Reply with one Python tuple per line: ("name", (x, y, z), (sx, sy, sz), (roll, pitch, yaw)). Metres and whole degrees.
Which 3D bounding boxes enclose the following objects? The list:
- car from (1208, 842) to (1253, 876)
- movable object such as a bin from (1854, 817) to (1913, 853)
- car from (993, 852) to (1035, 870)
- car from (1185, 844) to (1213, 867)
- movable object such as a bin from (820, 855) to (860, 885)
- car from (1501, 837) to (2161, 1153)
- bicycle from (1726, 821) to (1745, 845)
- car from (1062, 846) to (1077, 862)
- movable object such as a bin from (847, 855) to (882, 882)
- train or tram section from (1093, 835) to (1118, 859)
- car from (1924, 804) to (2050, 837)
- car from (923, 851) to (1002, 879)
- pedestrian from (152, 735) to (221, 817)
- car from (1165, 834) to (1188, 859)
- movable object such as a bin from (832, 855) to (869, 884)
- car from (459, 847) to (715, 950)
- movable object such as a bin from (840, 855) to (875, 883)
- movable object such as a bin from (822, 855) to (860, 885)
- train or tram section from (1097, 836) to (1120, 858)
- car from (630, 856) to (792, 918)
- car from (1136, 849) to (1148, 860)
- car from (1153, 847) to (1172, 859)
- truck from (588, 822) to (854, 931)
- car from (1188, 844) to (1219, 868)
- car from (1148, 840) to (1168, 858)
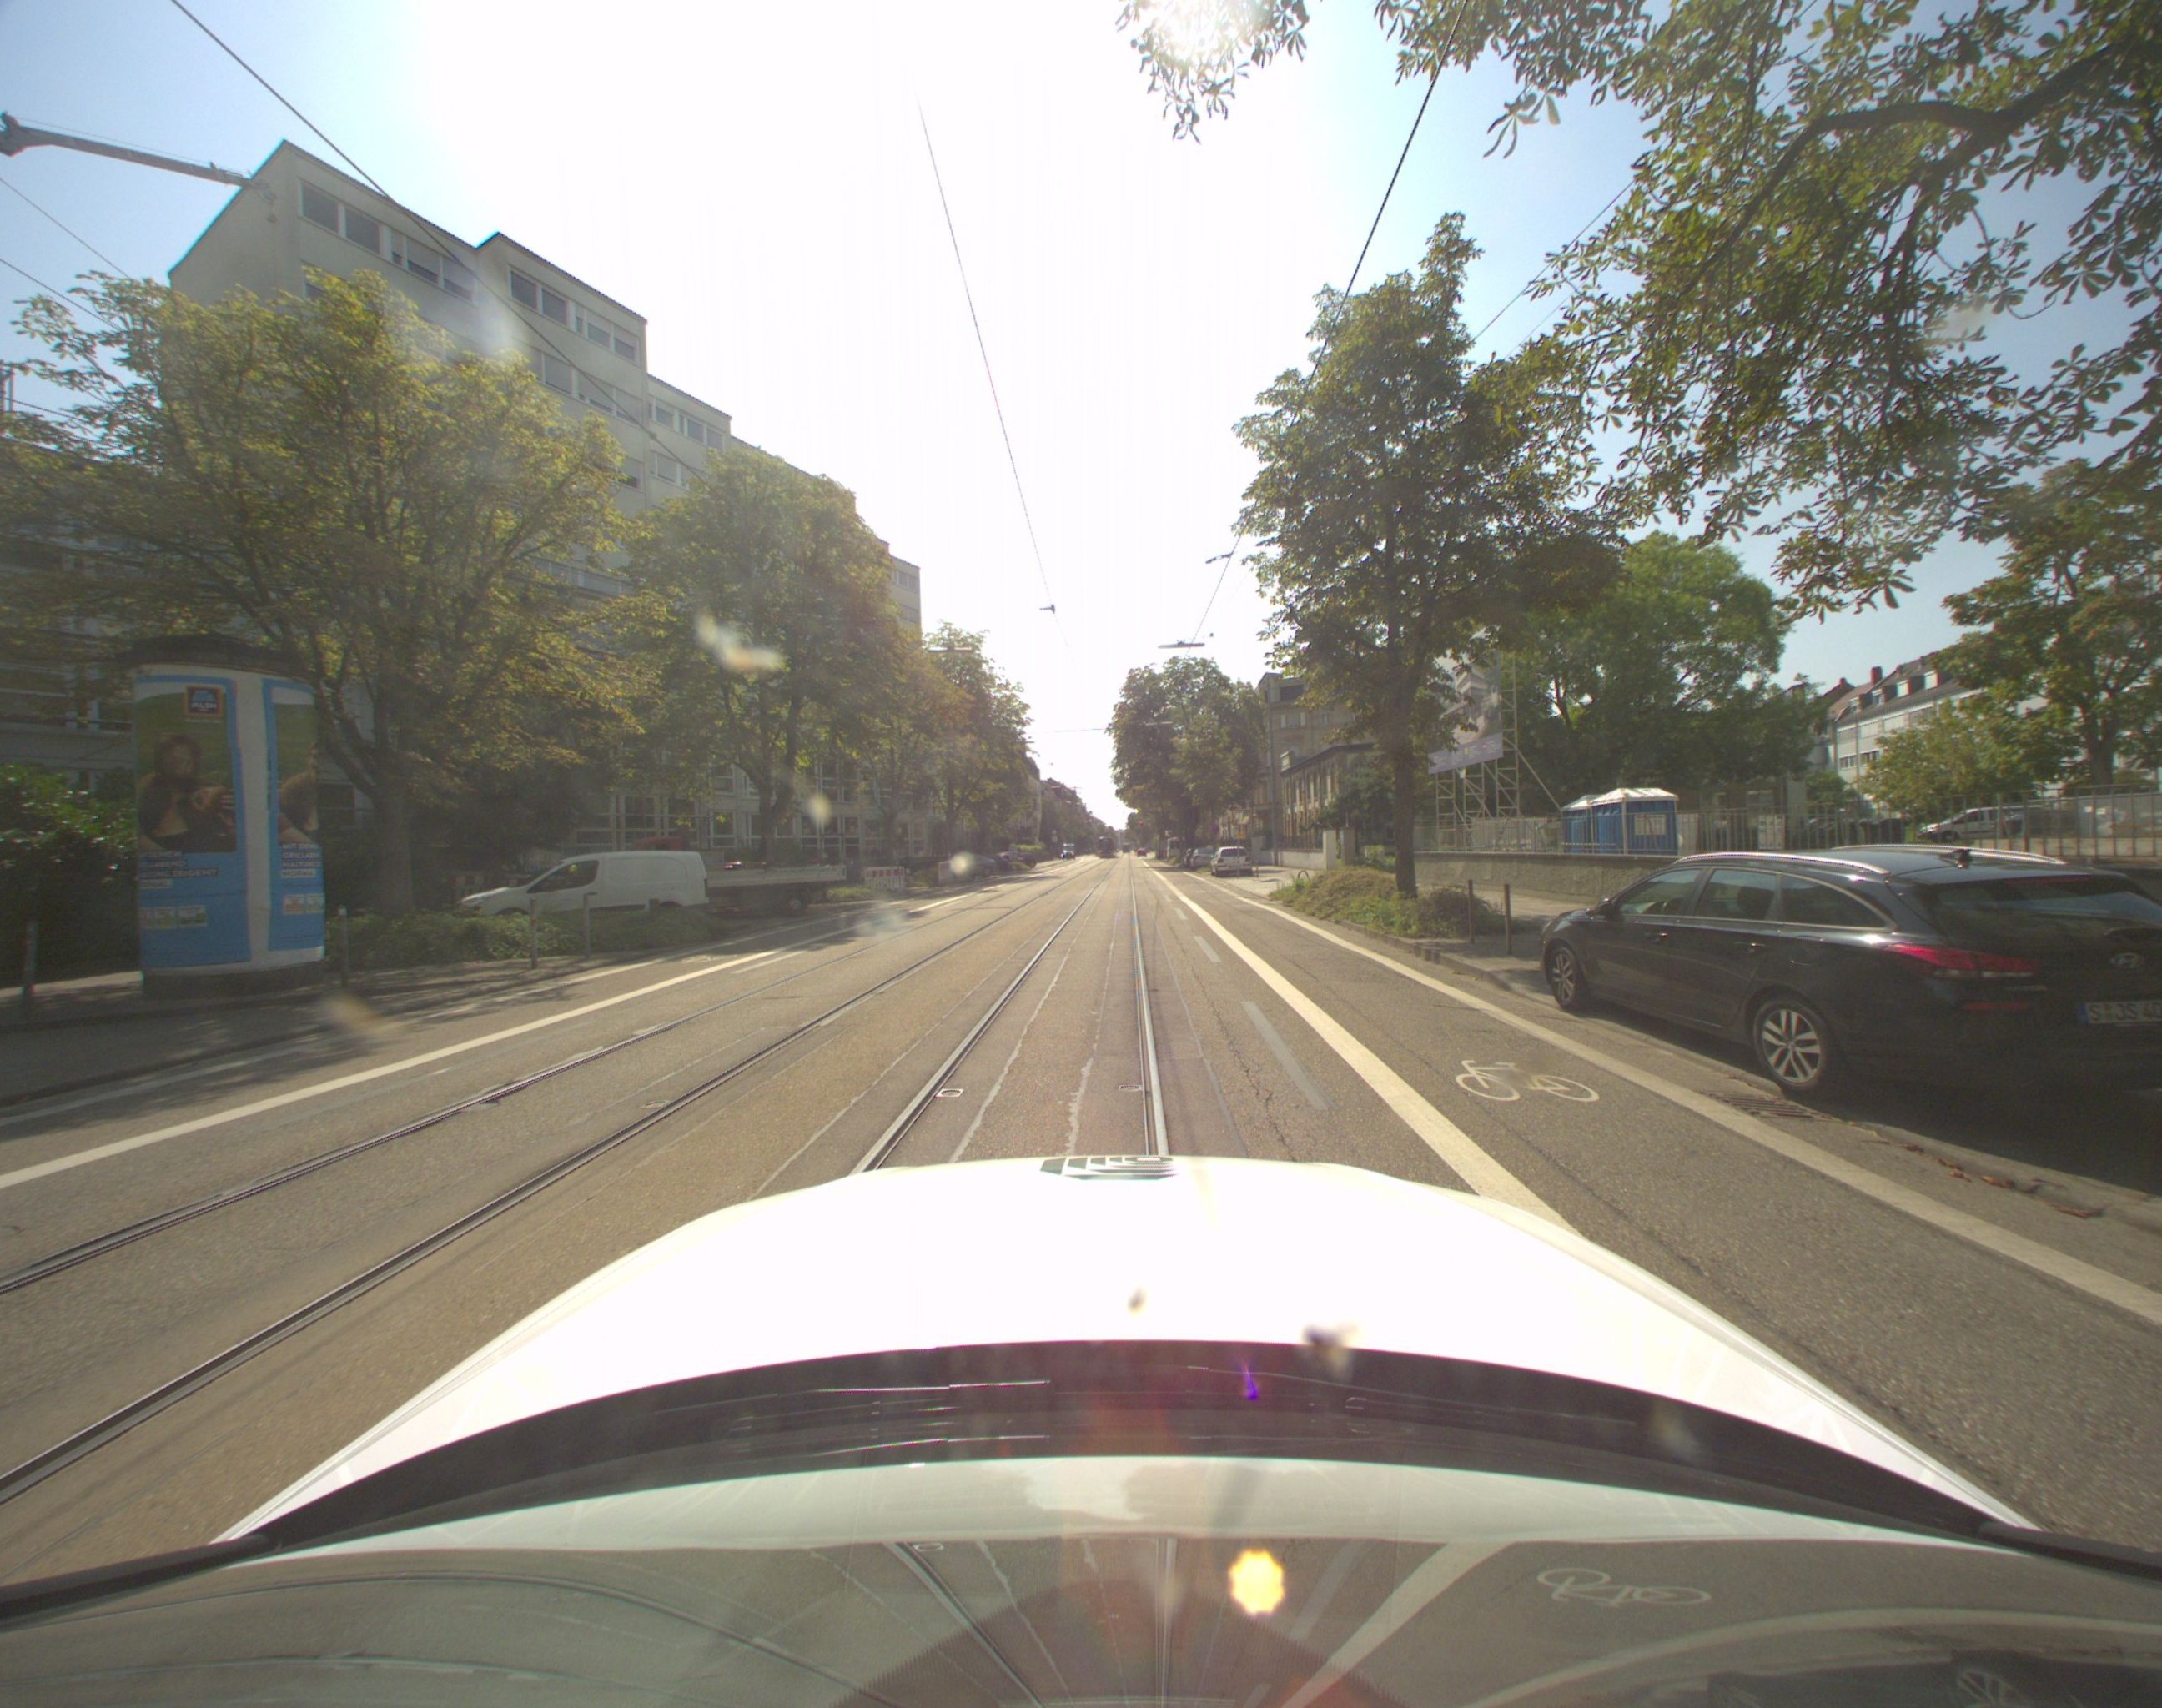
("car", (7.193, 0.217, 39.390), (1.782, 1.446, 3.739), (-3, 0, 6))
("movable object such as a bin", (34.918, -0.818, 35.486), (1.321, 1.493, 1.379), (-2, 1, 16))
("car", (-6.307, 0.624, 76.433), (3.604, 1.574, 1.657), (-1, 0, -39))
("car", (8.512, 0.066, 59.070), (1.786, 1.577, 4.006), (-2, 0, 5))
("movable object such as a bin", (-13.139, 0.874, 44.437), (1.676, 1.559, 1.355), (-2, 0, 2))
("car", (5.166, 0.661, 6.251), (1.667, 1.458, 4.668), (-3, 0, 3))
("bicycle", (36.268, -1.162, 45.130), (0.601, 1.302, 2.187), (-2, 0, 34))
("car", (-1.853, 0.032, 131.179), (2.235, 2.441, 3.999), (-1, 0, 0))
("movable object such as a bin", (-13.421, 0.880, 50.508), (1.676, 1.559, 1.355), (-2, 0, 2))
("train or tram section", (4.129, -1.139, 135.879), (3.481, 3.704, 12.427), (-1, 1, 4))
("car", (49.322, -1.802, 44.464), (4.248, 1.594, 1.811), (-2, 0, 32))
("car", (-7.275, 0.692, 50.525), (4.716, 1.451, 1.656), (-4, 1, -44))
("pedestrian", (-20.089, -1.721, 18.300), (0.742, 1.726, 0.856), (-2, 0, 28))
("car", (9.465, -0.711, 80.697), (1.985, 2.365, 4.004), (-1, 0, 3))
("movable object such as a bin", (-13.438, 0.894, 47.471), (1.676, 1.559, 1.355), (-2, 0, 2))
("car", (-10.191, 0.825, 16.987), (4.308, 1.772, 1.804), (-2, 0, -40))
("movable object such as a bin", (-13.439, 0.893, 49.032), (1.676, 1.559, 1.355), (-2, 0, 2))
("movable object such as a bin", (-13.505, 0.897, 45.890), (1.676, 1.559, 1.355), (-2, 0, 2))
("train or tram section", (5.120, -1.321, 148.242), (3.481, 3.704, 12.427), (-1, 1, 4))
("car", (-10.556, 0.904, 23.371), (3.881, 1.508, 1.700), (-2, 0, -41))
("car", (11.039, 0.076, 147.783), (1.985, 1.801, 4.004), (-1, 0, 3))
("car", (10.131, -0.160, 101.298), (1.987, 1.398, 4.000), (-2, 0, 1))
("truck", (-9.257, 0.459, 21.283), (5.996, 2.434, 2.127), (-2, 0, -36))
("car", (7.964, 0.133, 53.065), (1.634, 1.511, 3.644), (-1, 0, 3))
("car", (10.183, -0.650, 107.907), (1.988, 2.233, 3.998), (-2, 0, -2))
